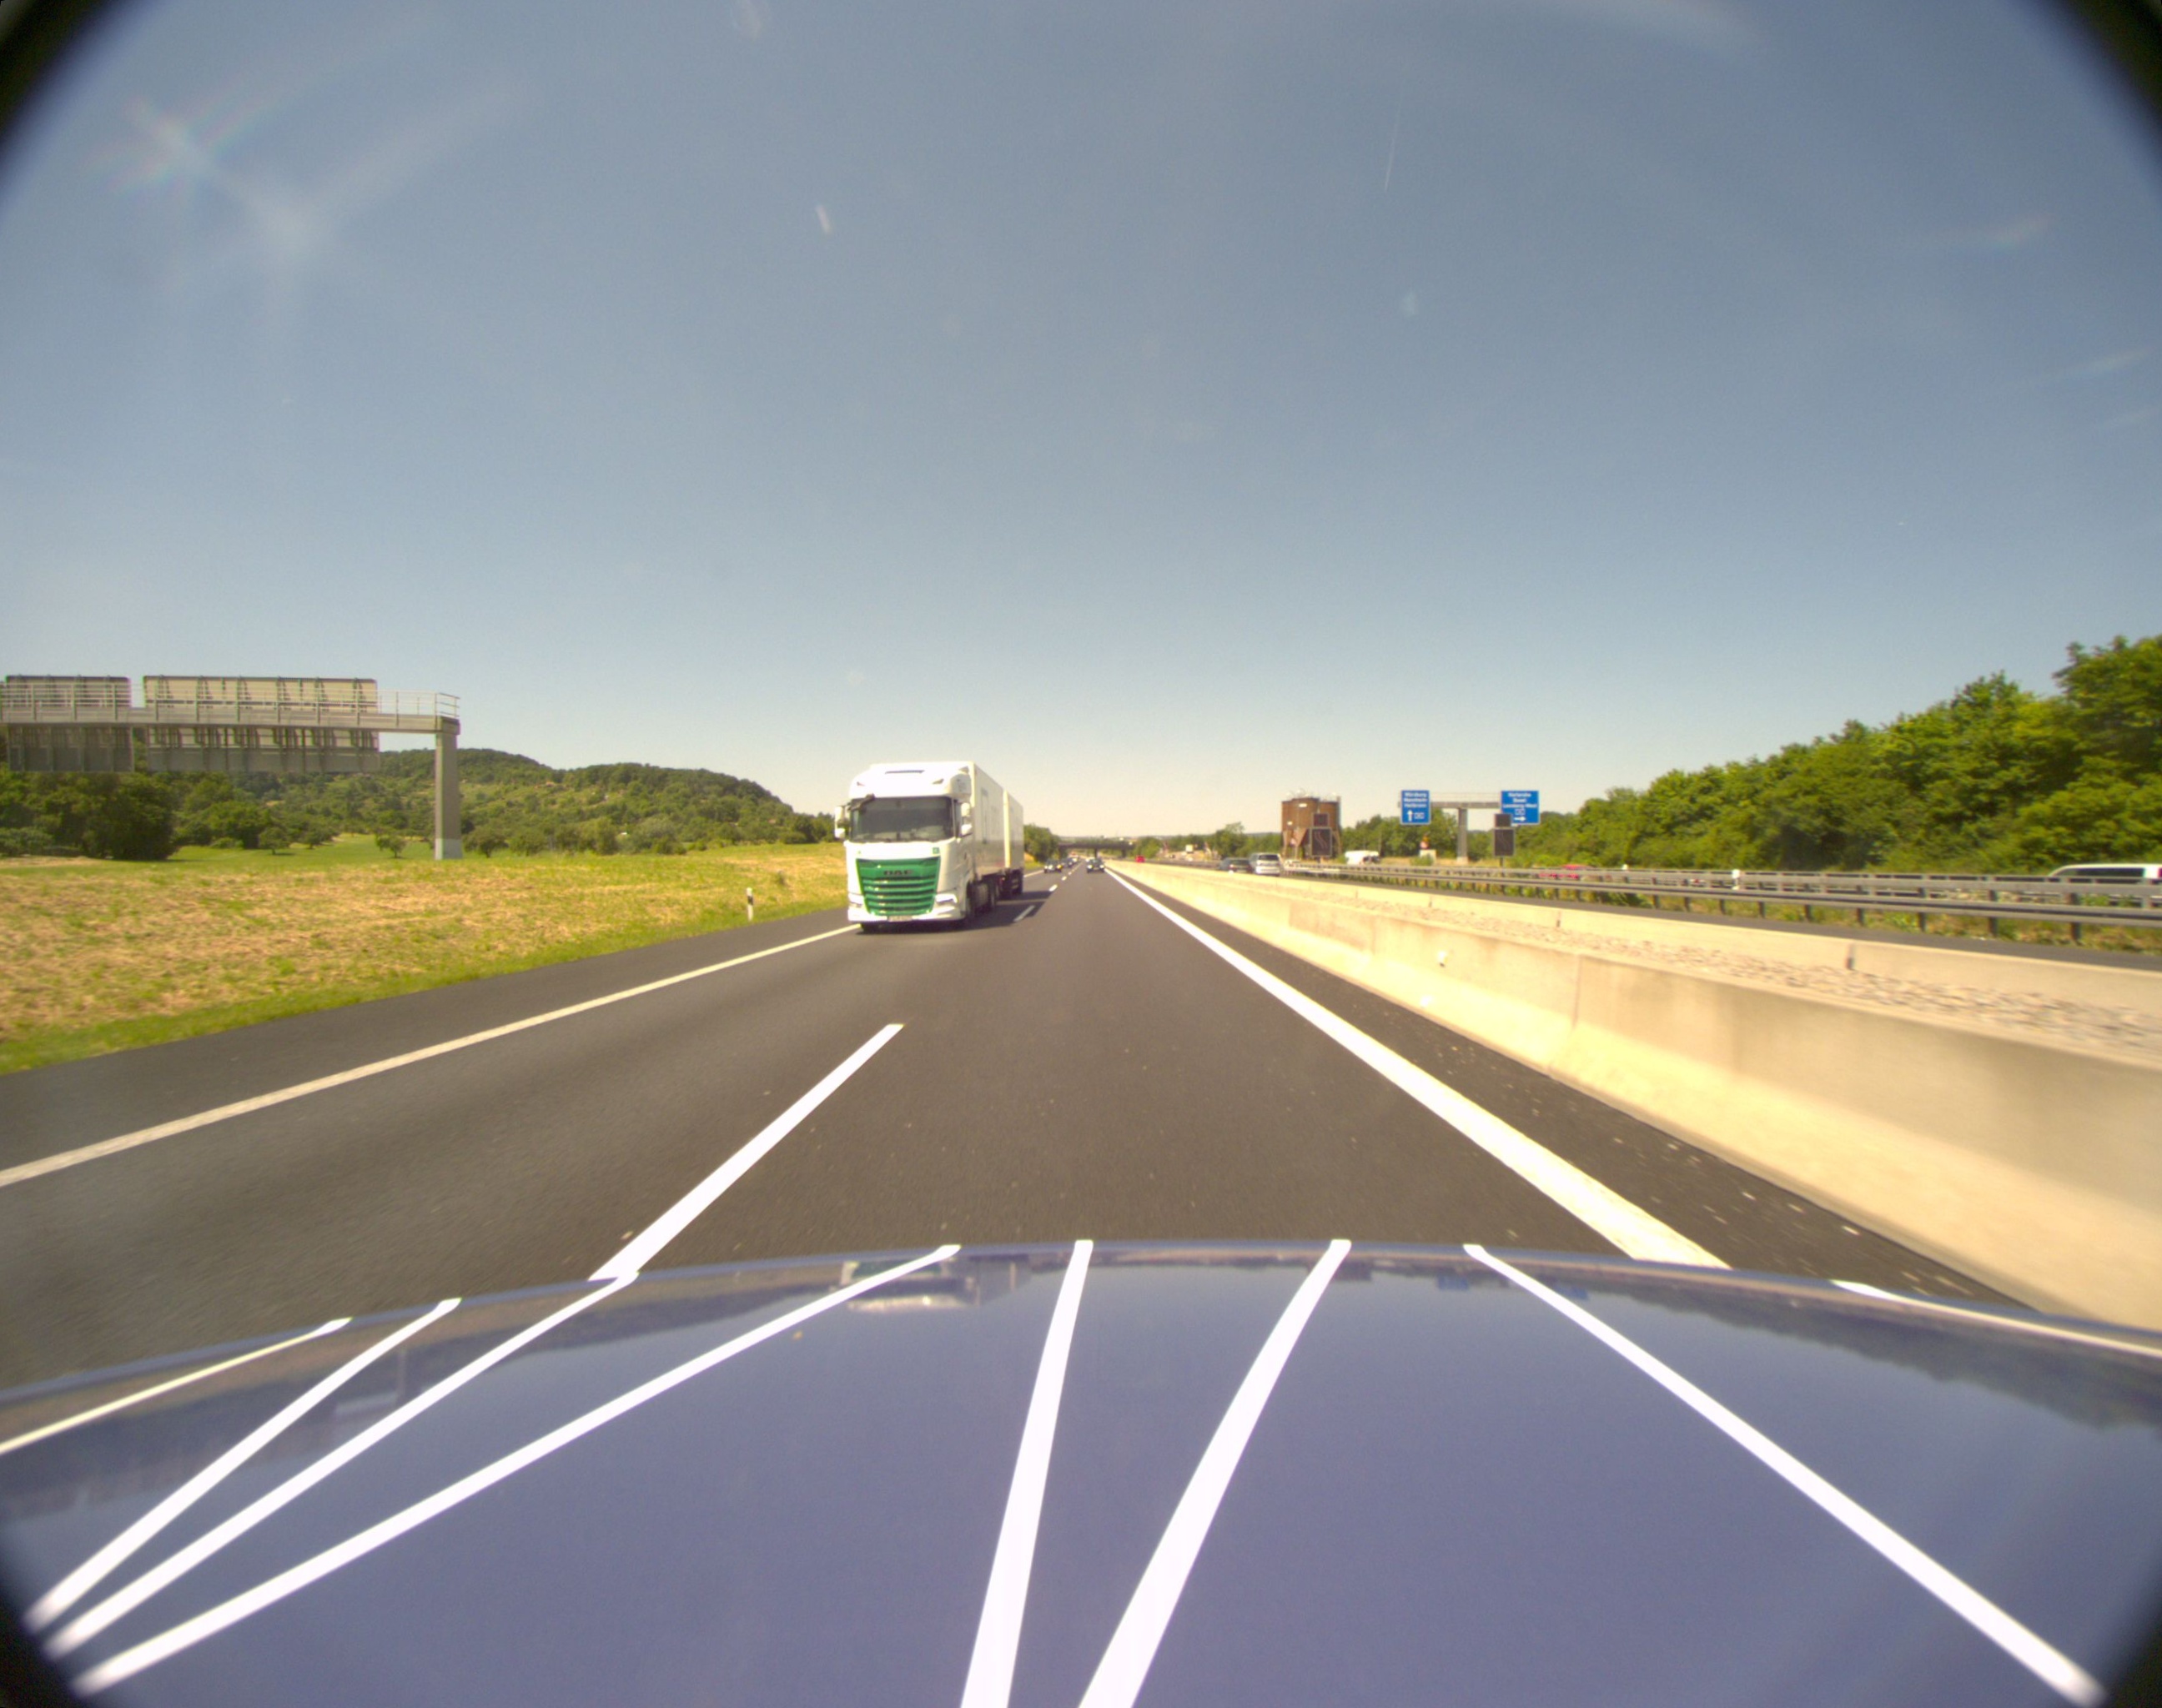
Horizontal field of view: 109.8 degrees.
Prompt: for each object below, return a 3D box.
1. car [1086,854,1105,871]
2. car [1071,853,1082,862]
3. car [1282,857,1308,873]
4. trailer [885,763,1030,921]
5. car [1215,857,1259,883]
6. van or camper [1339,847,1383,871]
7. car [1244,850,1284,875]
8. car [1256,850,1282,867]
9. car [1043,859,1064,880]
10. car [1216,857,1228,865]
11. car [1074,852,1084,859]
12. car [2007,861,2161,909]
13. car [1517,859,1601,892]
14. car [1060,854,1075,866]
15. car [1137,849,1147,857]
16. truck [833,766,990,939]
[{"bbox_3d":[1.403,0.812,74.743,1.799,1.574,3.999,-2,1,0],"label":"car"},{"bbox_3d":[-0.826,0.642,149.540,1.998,1.574,4.000,-3,0,2],"label":"car"},{"bbox_3d":[25.773,1.322,91.505,1.799,1.718,4.452,-2,1,-1],"label":"car"},{"bbox_3d":[-3.847,-0.360,28.003,2.663,4.164,14.893,-2,0,0],"label":"trailer"},{"bbox_3d":[9.847,0.974,48.275,1.799,1.586,4.307,-1,0,-1],"label":"car"},{"bbox_3d":[29.159,0.453,79.368,2.112,2.242,6.966,-2,1,1],"label":"van or camper"},{"bbox_3d":[14.187,0.619,59.218,1.998,1.831,5.085,1,0,1],"label":"car"},{"bbox_3d":[29.555,0.702,119.663,2.803,2.487,5.963,1,0,1],"label":"car"},{"bbox_3d":[-2.907,1.597,80.973,1.998,2.002,3.999,-2,1,1],"label":"car"},{"bbox_3d":[30.404,1.559,164.075,1.799,1.501,3.999,-2,1,1],"label":"car"},{"bbox_3d":[-0.395,0.279,174.019,1.998,1.574,4.000,-3,0,2],"label":"car"},{"bbox_3d":[38.766,1.090,28.646,1.997,1.568,4.995,0,0,7],"label":"car"},{"bbox_3d":[25.397,1.105,40.536,1.998,1.568,4.000,-2,1,2],"label":"car"},{"bbox_3d":[-1.981,0.830,112.089,1.998,1.574,4.000,-3,0,2],"label":"car"},{"bbox_3d":[14.840,-0.244,185.623,1.998,2.002,3.999,-2,1,1],"label":"car"},{"bbox_3d":[-3.866,-0.058,18.337,2.649,3.572,4.403,-2,1,0],"label":"truck"}]
